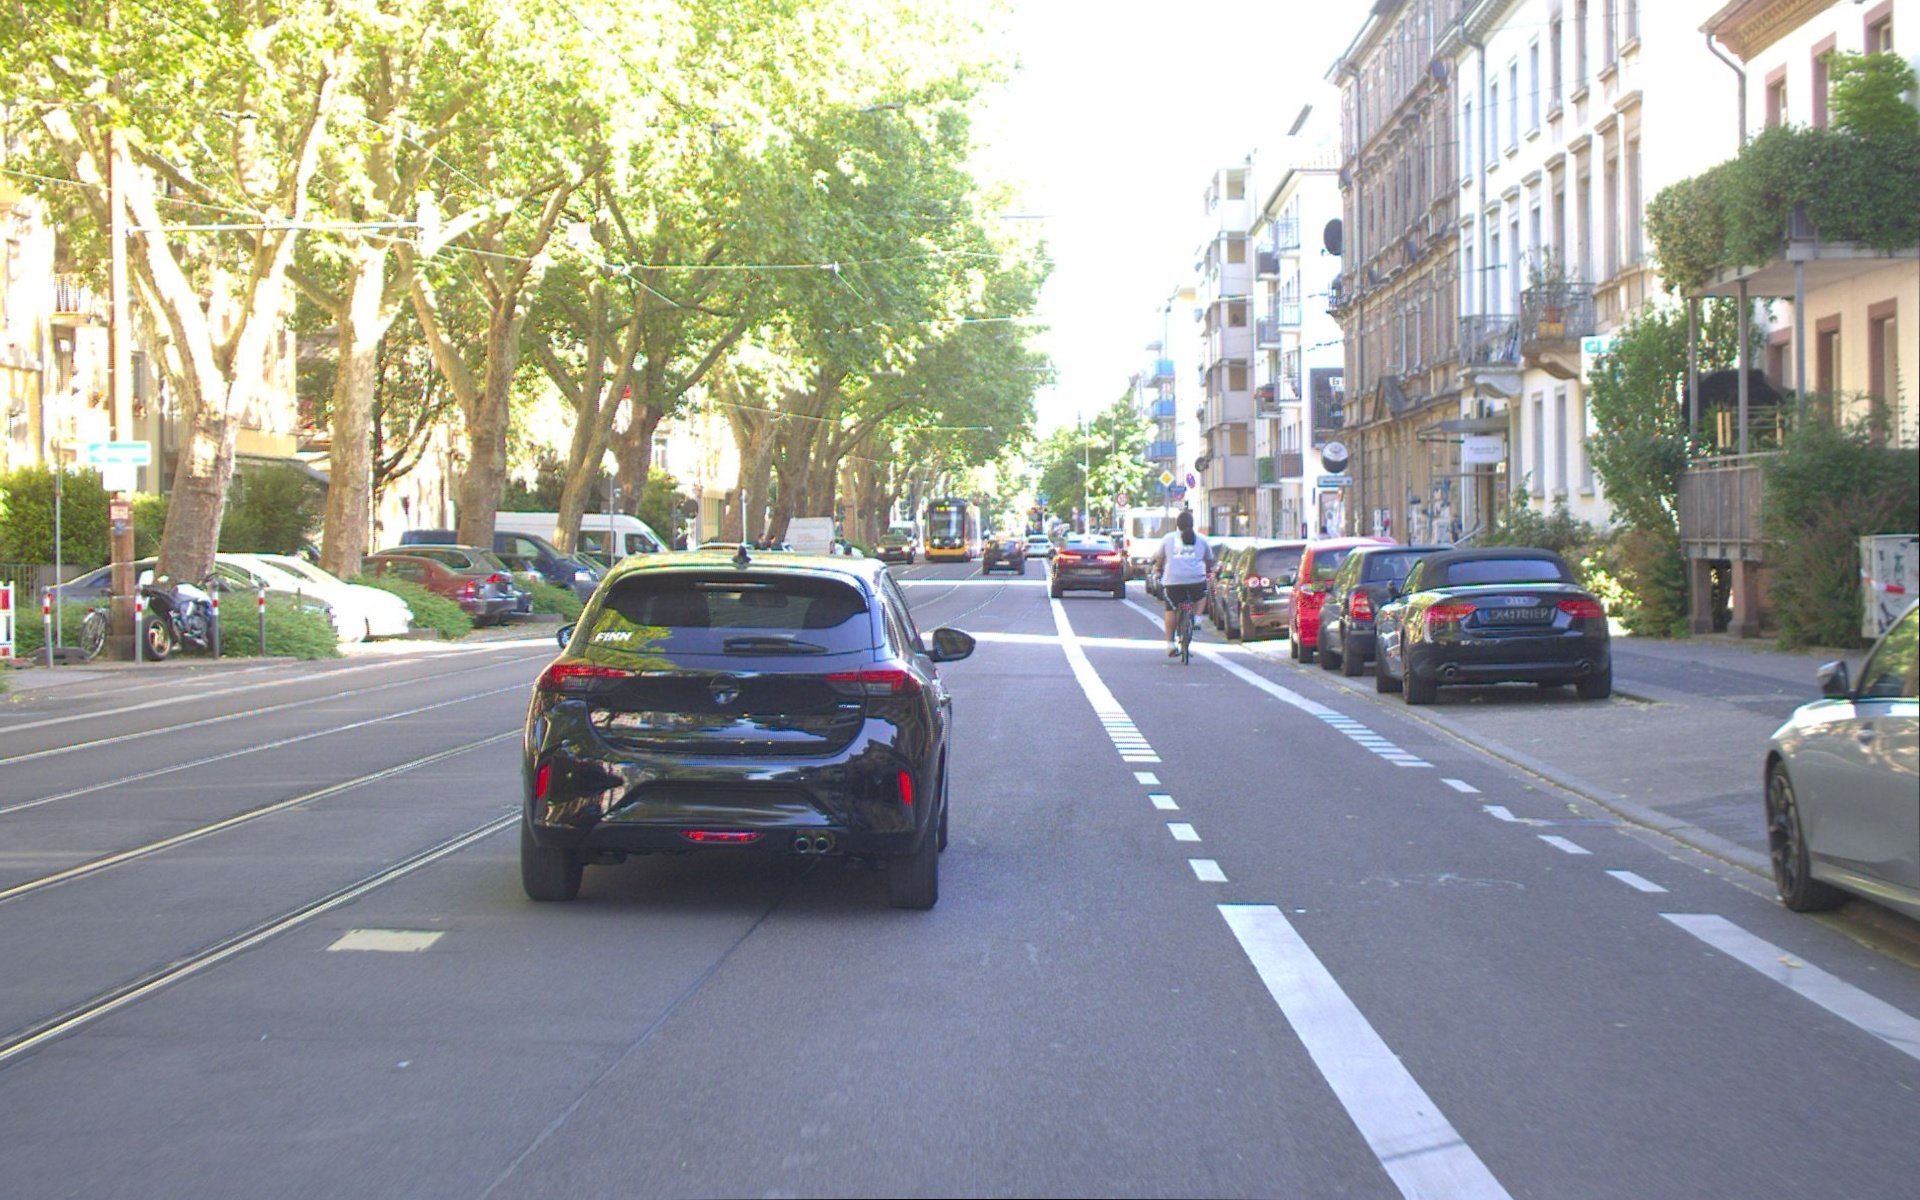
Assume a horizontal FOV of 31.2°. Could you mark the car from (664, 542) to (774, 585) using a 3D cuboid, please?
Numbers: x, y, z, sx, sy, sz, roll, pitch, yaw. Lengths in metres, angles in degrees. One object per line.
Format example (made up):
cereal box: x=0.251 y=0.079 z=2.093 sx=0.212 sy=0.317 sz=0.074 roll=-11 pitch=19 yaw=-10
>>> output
car: x=-8.810 y=-1.342 z=125.783 sx=3.920 sy=1.493 sz=1.677 roll=1 pitch=1 yaw=-1

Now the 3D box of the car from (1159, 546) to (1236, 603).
car: x=6.116 y=-0.673 z=88.837 sx=1.810 sy=1.333 sz=3.933 roll=-4 pitch=1 yaw=3

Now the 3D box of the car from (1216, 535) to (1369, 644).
car: x=5.318 y=-0.188 z=55.433 sx=1.880 sy=1.580 sz=3.933 roll=-4 pitch=1 yaw=-2

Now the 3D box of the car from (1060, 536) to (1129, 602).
car: x=3.664 y=-0.849 z=93.217 sx=1.810 sy=1.736 sz=3.933 roll=0 pitch=1 yaw=3

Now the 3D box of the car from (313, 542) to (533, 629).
car: x=-10.590 y=-0.297 z=67.930 sx=3.995 sy=1.621 sz=1.879 roll=1 pitch=1 yaw=2

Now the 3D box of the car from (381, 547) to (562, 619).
car: x=-10.892 y=-0.385 z=76.847 sx=3.734 sy=1.493 sz=1.746 roll=1 pitch=1 yaw=2

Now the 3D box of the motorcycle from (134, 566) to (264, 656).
motorcycle: x=-10.160 y=0.130 z=45.987 sx=0.885 sy=1.143 sz=2.390 roll=0 pitch=1 yaw=9

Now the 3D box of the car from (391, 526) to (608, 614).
car: x=-10.639 y=-0.689 z=79.629 sx=4.675 sy=1.917 sz=1.980 roll=1 pitch=1 yaw=3

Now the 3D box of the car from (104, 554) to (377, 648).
car: x=-11.353 y=0.004 z=54.402 sx=3.921 sy=1.448 sz=1.800 roll=0 pitch=1 yaw=2

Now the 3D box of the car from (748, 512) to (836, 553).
car: x=-7.614 y=-3.048 z=156.284 sx=3.920 sy=1.784 sz=1.677 roll=1 pitch=1 yaw=-1

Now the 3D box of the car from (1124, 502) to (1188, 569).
car: x=6.949 y=-2.292 z=122.102 sx=2.076 sy=2.211 sz=4.933 roll=-4 pitch=1 yaw=3

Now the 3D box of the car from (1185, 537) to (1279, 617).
car: x=5.572 y=-0.488 z=70.714 sx=1.711 sy=1.478 sz=3.763 roll=-4 pitch=1 yaw=3

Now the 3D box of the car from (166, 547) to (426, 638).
car: x=-11.008 y=-0.130 z=57.141 sx=3.920 sy=1.457 sz=1.805 roll=0 pitch=1 yaw=2

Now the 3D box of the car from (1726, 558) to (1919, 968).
car: x=4.305 y=0.553 z=13.022 sx=1.809 sy=1.430 sz=4.665 roll=-2 pitch=1 yaw=1

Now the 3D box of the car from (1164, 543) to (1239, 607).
car: x=5.950 y=-0.629 z=84.537 sx=1.705 sy=1.451 sz=3.696 roll=-4 pitch=1 yaw=5

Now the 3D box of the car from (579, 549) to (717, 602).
car: x=-9.183 y=-0.730 z=101.458 sx=3.920 sy=1.493 sz=1.677 roll=1 pitch=1 yaw=-1

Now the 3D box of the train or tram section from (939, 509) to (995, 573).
train or tram section: x=0.474 y=-3.553 z=206.833 sx=2.735 sy=3.669 sz=12.716 roll=-1 pitch=1 yaw=3

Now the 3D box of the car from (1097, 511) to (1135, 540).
car: x=7.839 y=-3.727 z=172.641 sx=1.810 sy=1.333 sz=3.933 roll=-4 pitch=1 yaw=3

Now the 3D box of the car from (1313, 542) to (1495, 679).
car: x=5.030 y=0.093 z=39.348 sx=1.651 sy=1.451 sz=3.868 roll=-1 pitch=1 yaw=2

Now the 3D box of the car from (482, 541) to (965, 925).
car: x=-0.910 y=0.482 z=15.026 sx=1.794 sy=1.436 sz=3.531 roll=0 pitch=2 yaw=1

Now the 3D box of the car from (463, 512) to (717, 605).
car: x=-10.164 y=-1.148 z=94.851 sx=6.628 sy=2.401 sz=2.458 roll=1 pitch=1 yaw=2

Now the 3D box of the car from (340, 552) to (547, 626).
car: x=-10.537 y=-0.238 z=70.335 sx=3.920 sy=1.417 sz=1.819 roll=1 pitch=1 yaw=0

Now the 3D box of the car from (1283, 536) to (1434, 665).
car: x=5.054 y=-0.015 z=43.946 sx=1.634 sy=1.541 sz=3.575 roll=-1 pitch=1 yaw=3

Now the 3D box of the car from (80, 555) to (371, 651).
car: x=-11.024 y=0.033 z=51.760 sx=3.920 sy=1.327 sz=1.847 roll=1 pitch=1 yaw=2

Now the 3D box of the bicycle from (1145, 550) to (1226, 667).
bicycle: x=2.786 y=0.085 z=42.732 sx=0.860 sy=1.402 sz=2.524 roll=0 pitch=1 yaw=0

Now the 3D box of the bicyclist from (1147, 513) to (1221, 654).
bicyclist: x=2.778 y=-0.209 z=42.776 sx=0.848 sy=1.734 sz=1.162 roll=0 pitch=1 yaw=0

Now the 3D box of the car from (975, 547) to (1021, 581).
car: x=1.513 y=-1.458 z=137.391 sx=1.810 sy=1.334 sz=3.933 roll=0 pitch=1 yaw=1

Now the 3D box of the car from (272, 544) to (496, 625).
car: x=-10.976 y=-0.300 z=65.618 sx=3.920 sy=1.437 sz=1.749 roll=1 pitch=1 yaw=2

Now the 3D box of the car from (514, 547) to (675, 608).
car: x=-9.474 y=-0.598 z=89.248 sx=3.920 sy=1.493 sz=1.677 roll=1 pitch=1 yaw=3

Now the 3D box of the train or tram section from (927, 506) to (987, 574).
train or tram section: x=-0.125 y=-3.361 z=194.151 sx=2.735 sy=3.669 sz=12.716 roll=-1 pitch=1 yaw=3

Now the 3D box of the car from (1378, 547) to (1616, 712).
car: x=4.954 y=0.225 z=32.215 sx=1.694 sy=1.388 sz=4.494 roll=-2 pitch=1 yaw=3

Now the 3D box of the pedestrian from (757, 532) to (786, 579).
pedestrian: x=-6.247 y=-1.468 z=113.738 sx=0.766 sy=1.561 sz=0.681 roll=0 pitch=1 yaw=-22

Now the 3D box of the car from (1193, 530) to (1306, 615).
car: x=5.426 y=-0.532 z=64.831 sx=1.880 sy=1.451 sz=4.025 roll=-4 pitch=1 yaw=3

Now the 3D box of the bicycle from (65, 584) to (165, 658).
bicycle: x=-11.275 y=0.264 z=45.931 sx=0.541 sy=0.937 sz=2.033 roll=0 pitch=1 yaw=9
